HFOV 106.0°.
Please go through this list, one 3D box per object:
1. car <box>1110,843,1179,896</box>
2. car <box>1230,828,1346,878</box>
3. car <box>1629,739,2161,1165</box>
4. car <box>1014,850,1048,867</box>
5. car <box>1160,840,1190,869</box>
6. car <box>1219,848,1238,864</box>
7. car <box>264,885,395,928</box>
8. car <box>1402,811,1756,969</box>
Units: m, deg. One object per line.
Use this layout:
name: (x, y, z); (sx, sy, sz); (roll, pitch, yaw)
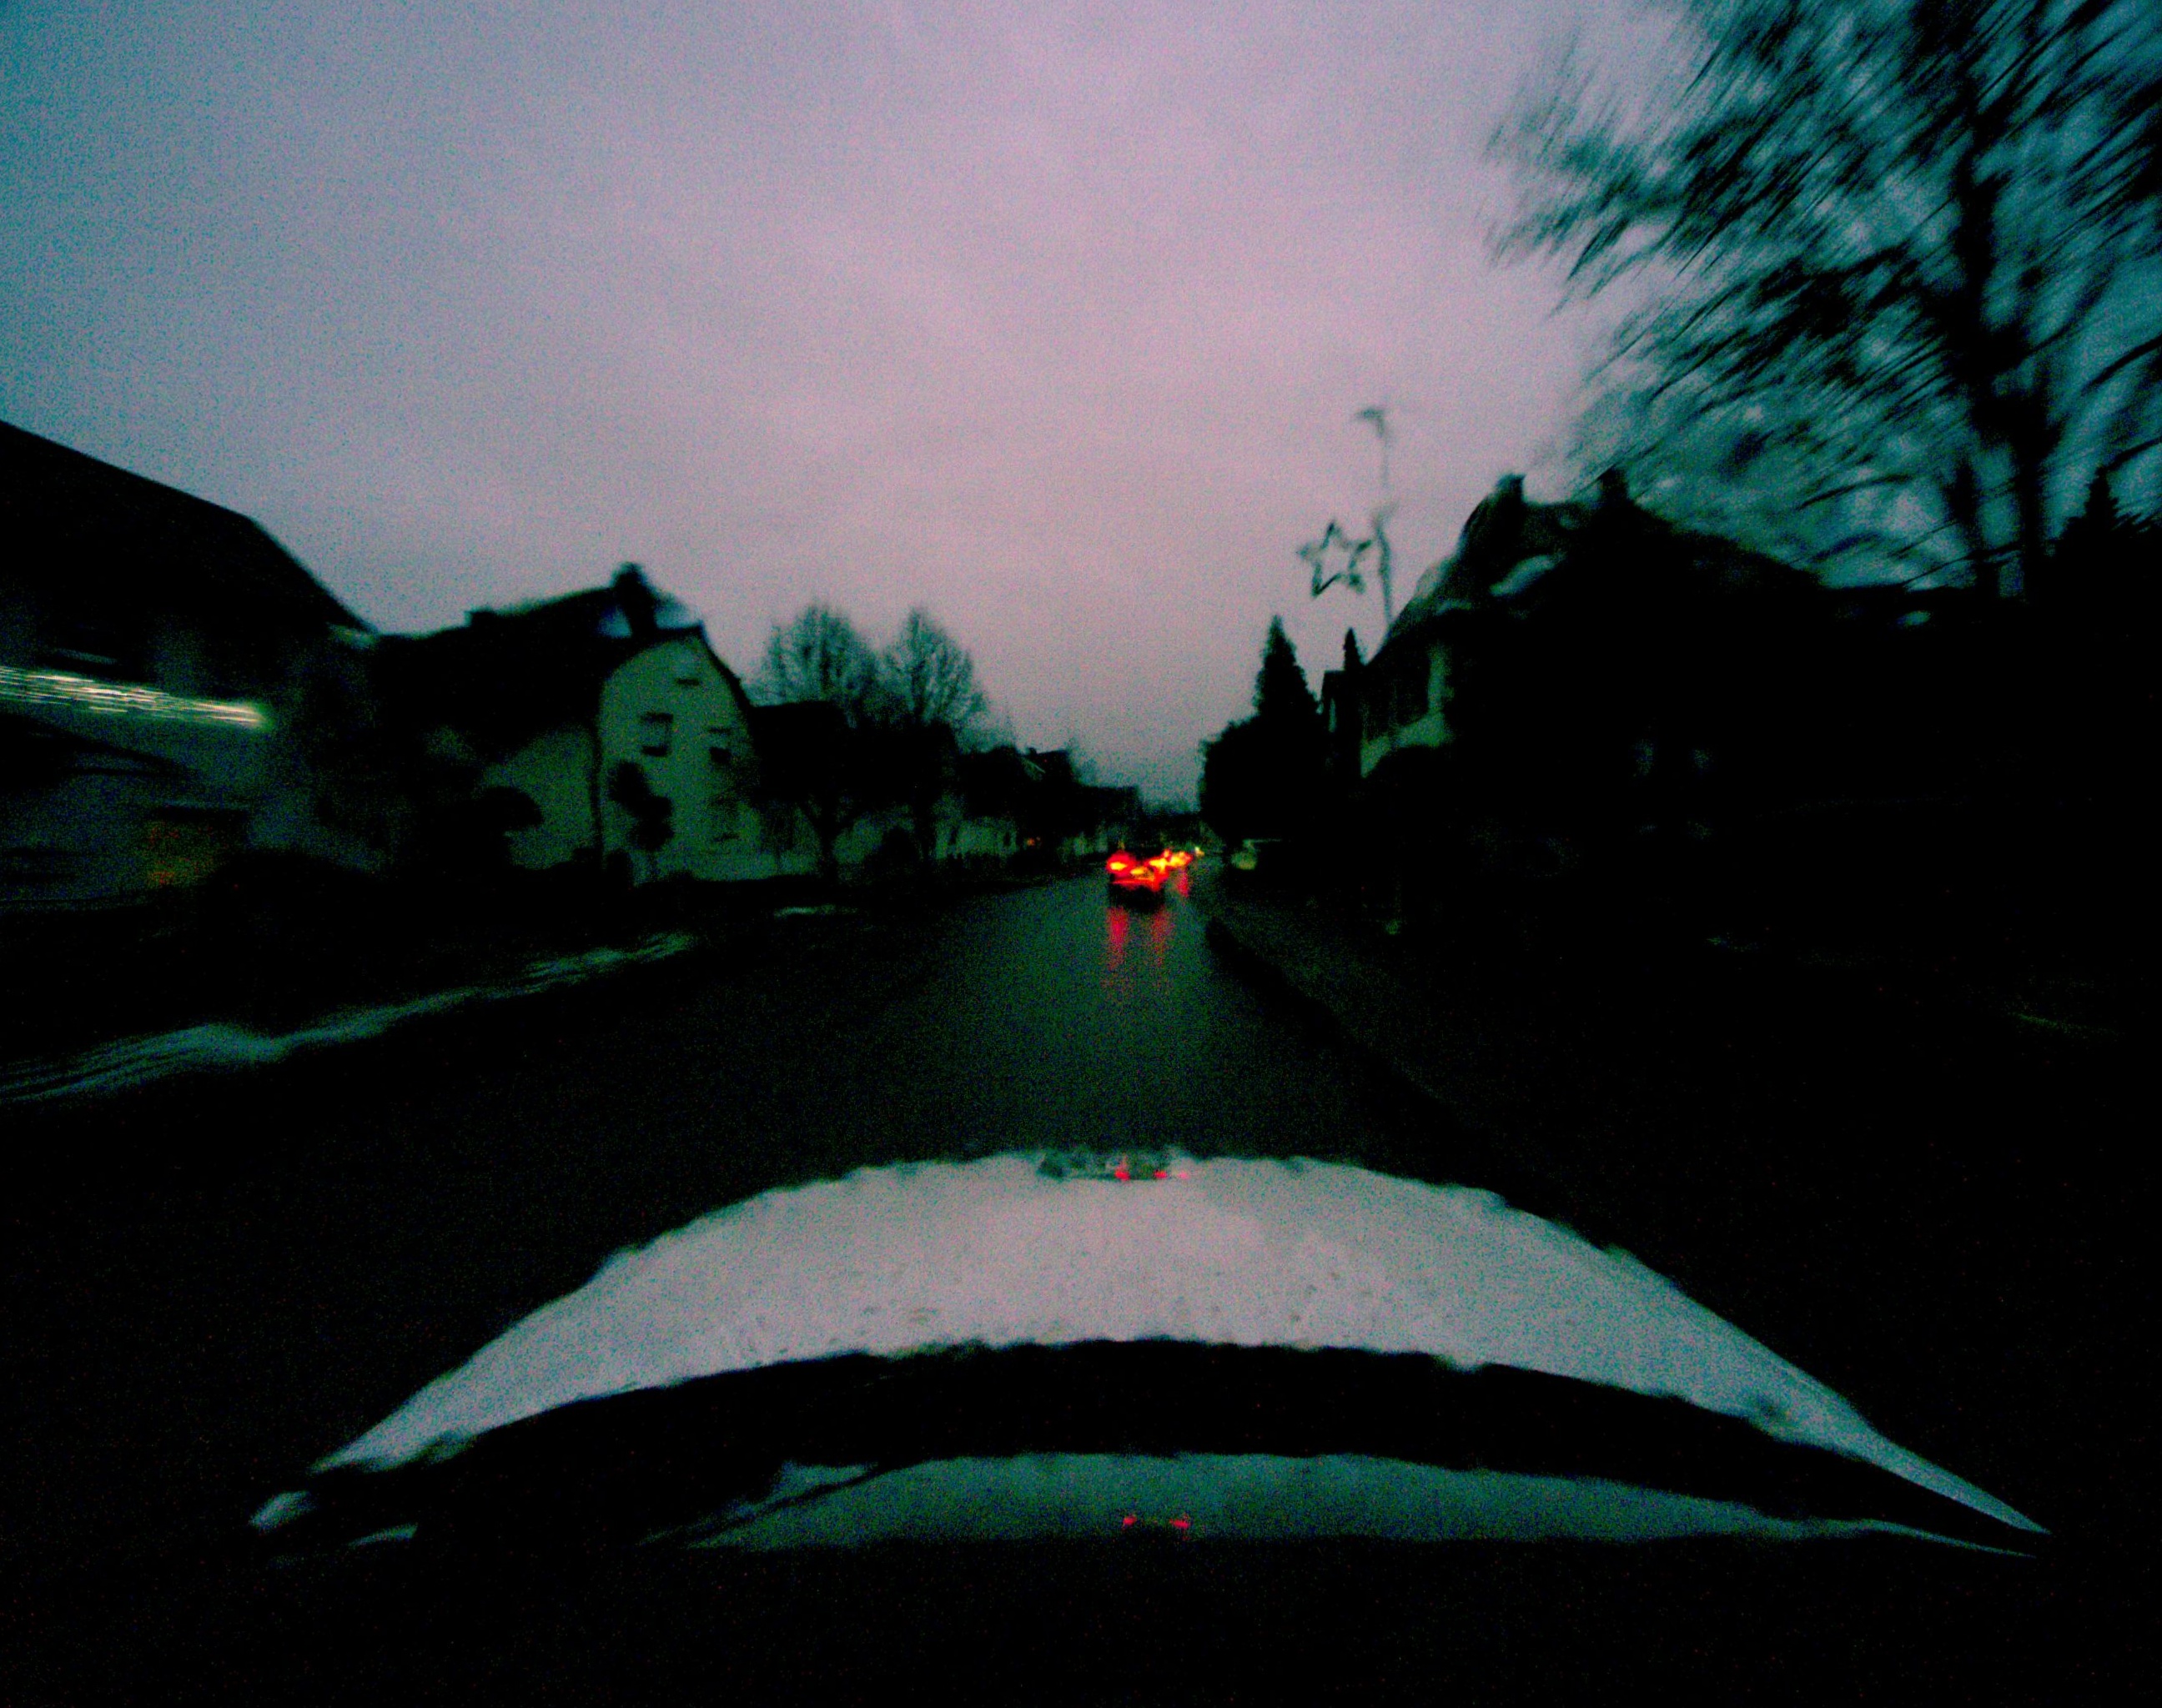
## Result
car: (1.948, 0.452, 26.068); (1.986, 1.525, 4.001); (-1, 0, 1)
car: (8.587, -0.043, 34.019); (4.305, 1.732, 2.002); (-4, 0, 2)
car: (5.682, 0.311, 4.341); (4.087, 1.706, 2.001); (-4, -1, 1)
car: (-4.320, 0.381, 71.445); (1.768, 1.366, 4.016); (-1, 0, 15)
car: (6.950, 0.038, 60.057); (1.981, 2.013, 4.011); (-1, 0, 9)
car: (15.188, 0.192, 83.559); (1.637, 1.540, 3.404); (0, 0, 15)
car: (-22.191, 1.534, 24.149); (1.117, 1.058, 2.666); (-2, 0, 12)
car: (5.999, 0.349, 10.657); (1.885, 1.554, 4.759); (-2, 0, 3)
